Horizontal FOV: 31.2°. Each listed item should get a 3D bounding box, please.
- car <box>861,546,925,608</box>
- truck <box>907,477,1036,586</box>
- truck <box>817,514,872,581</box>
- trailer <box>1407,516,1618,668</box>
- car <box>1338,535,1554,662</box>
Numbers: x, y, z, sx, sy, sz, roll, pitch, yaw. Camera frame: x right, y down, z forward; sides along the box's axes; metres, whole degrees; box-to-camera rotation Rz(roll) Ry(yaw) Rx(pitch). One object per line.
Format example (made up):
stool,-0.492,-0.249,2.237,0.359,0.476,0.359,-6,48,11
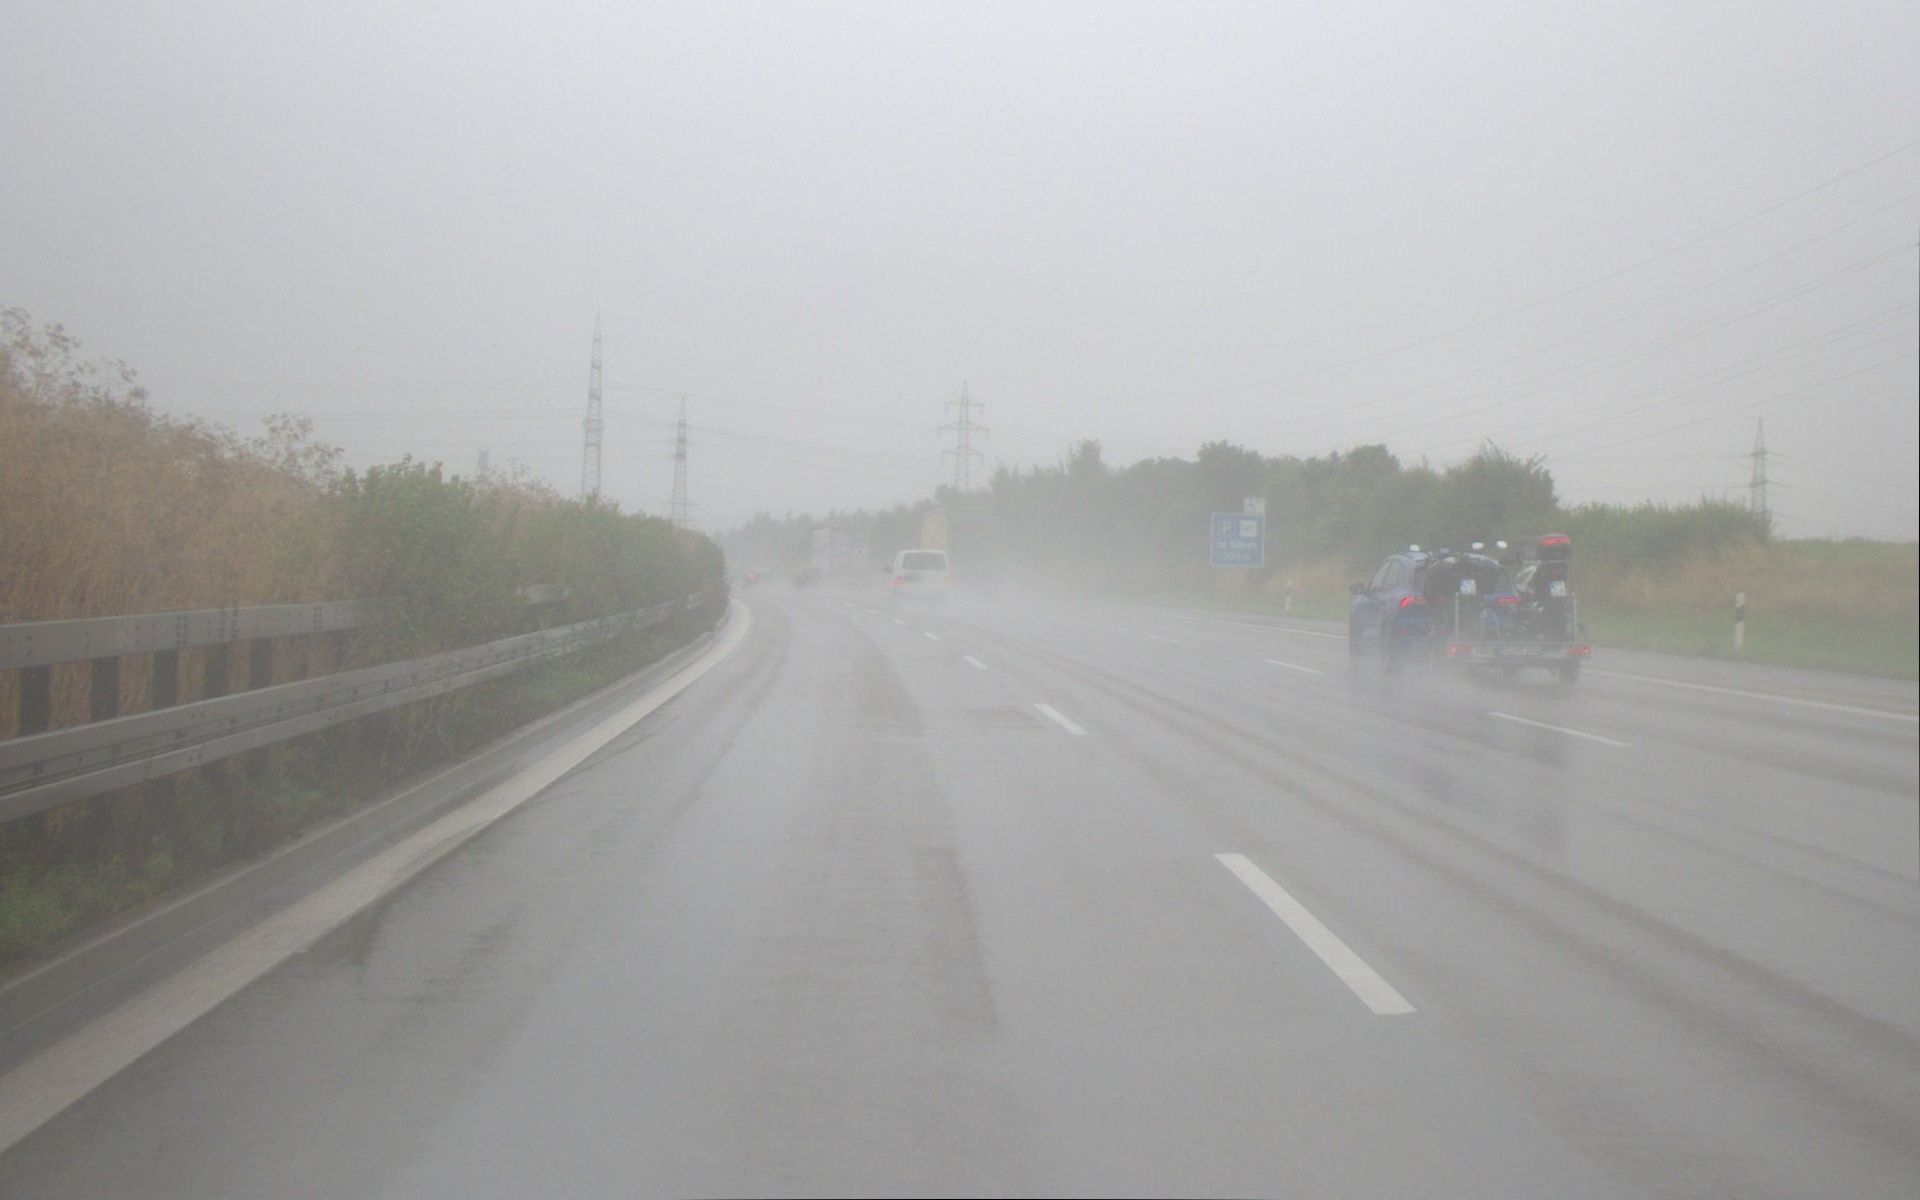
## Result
car,-2.244,-0.765,114.332,1.993,2.007,4.000,0,1,-3
truck,0.388,-3.005,156.901,4.188,4.614,16.108,0,0,-6
truck,-7.678,-3.443,227.624,3.232,4.297,8.838,0,1,-5
trailer,6.737,-0.096,42.222,1.979,1.779,3.189,0,0,-2
car,6.468,-0.014,46.297,1.993,1.613,4.993,0,0,-3
